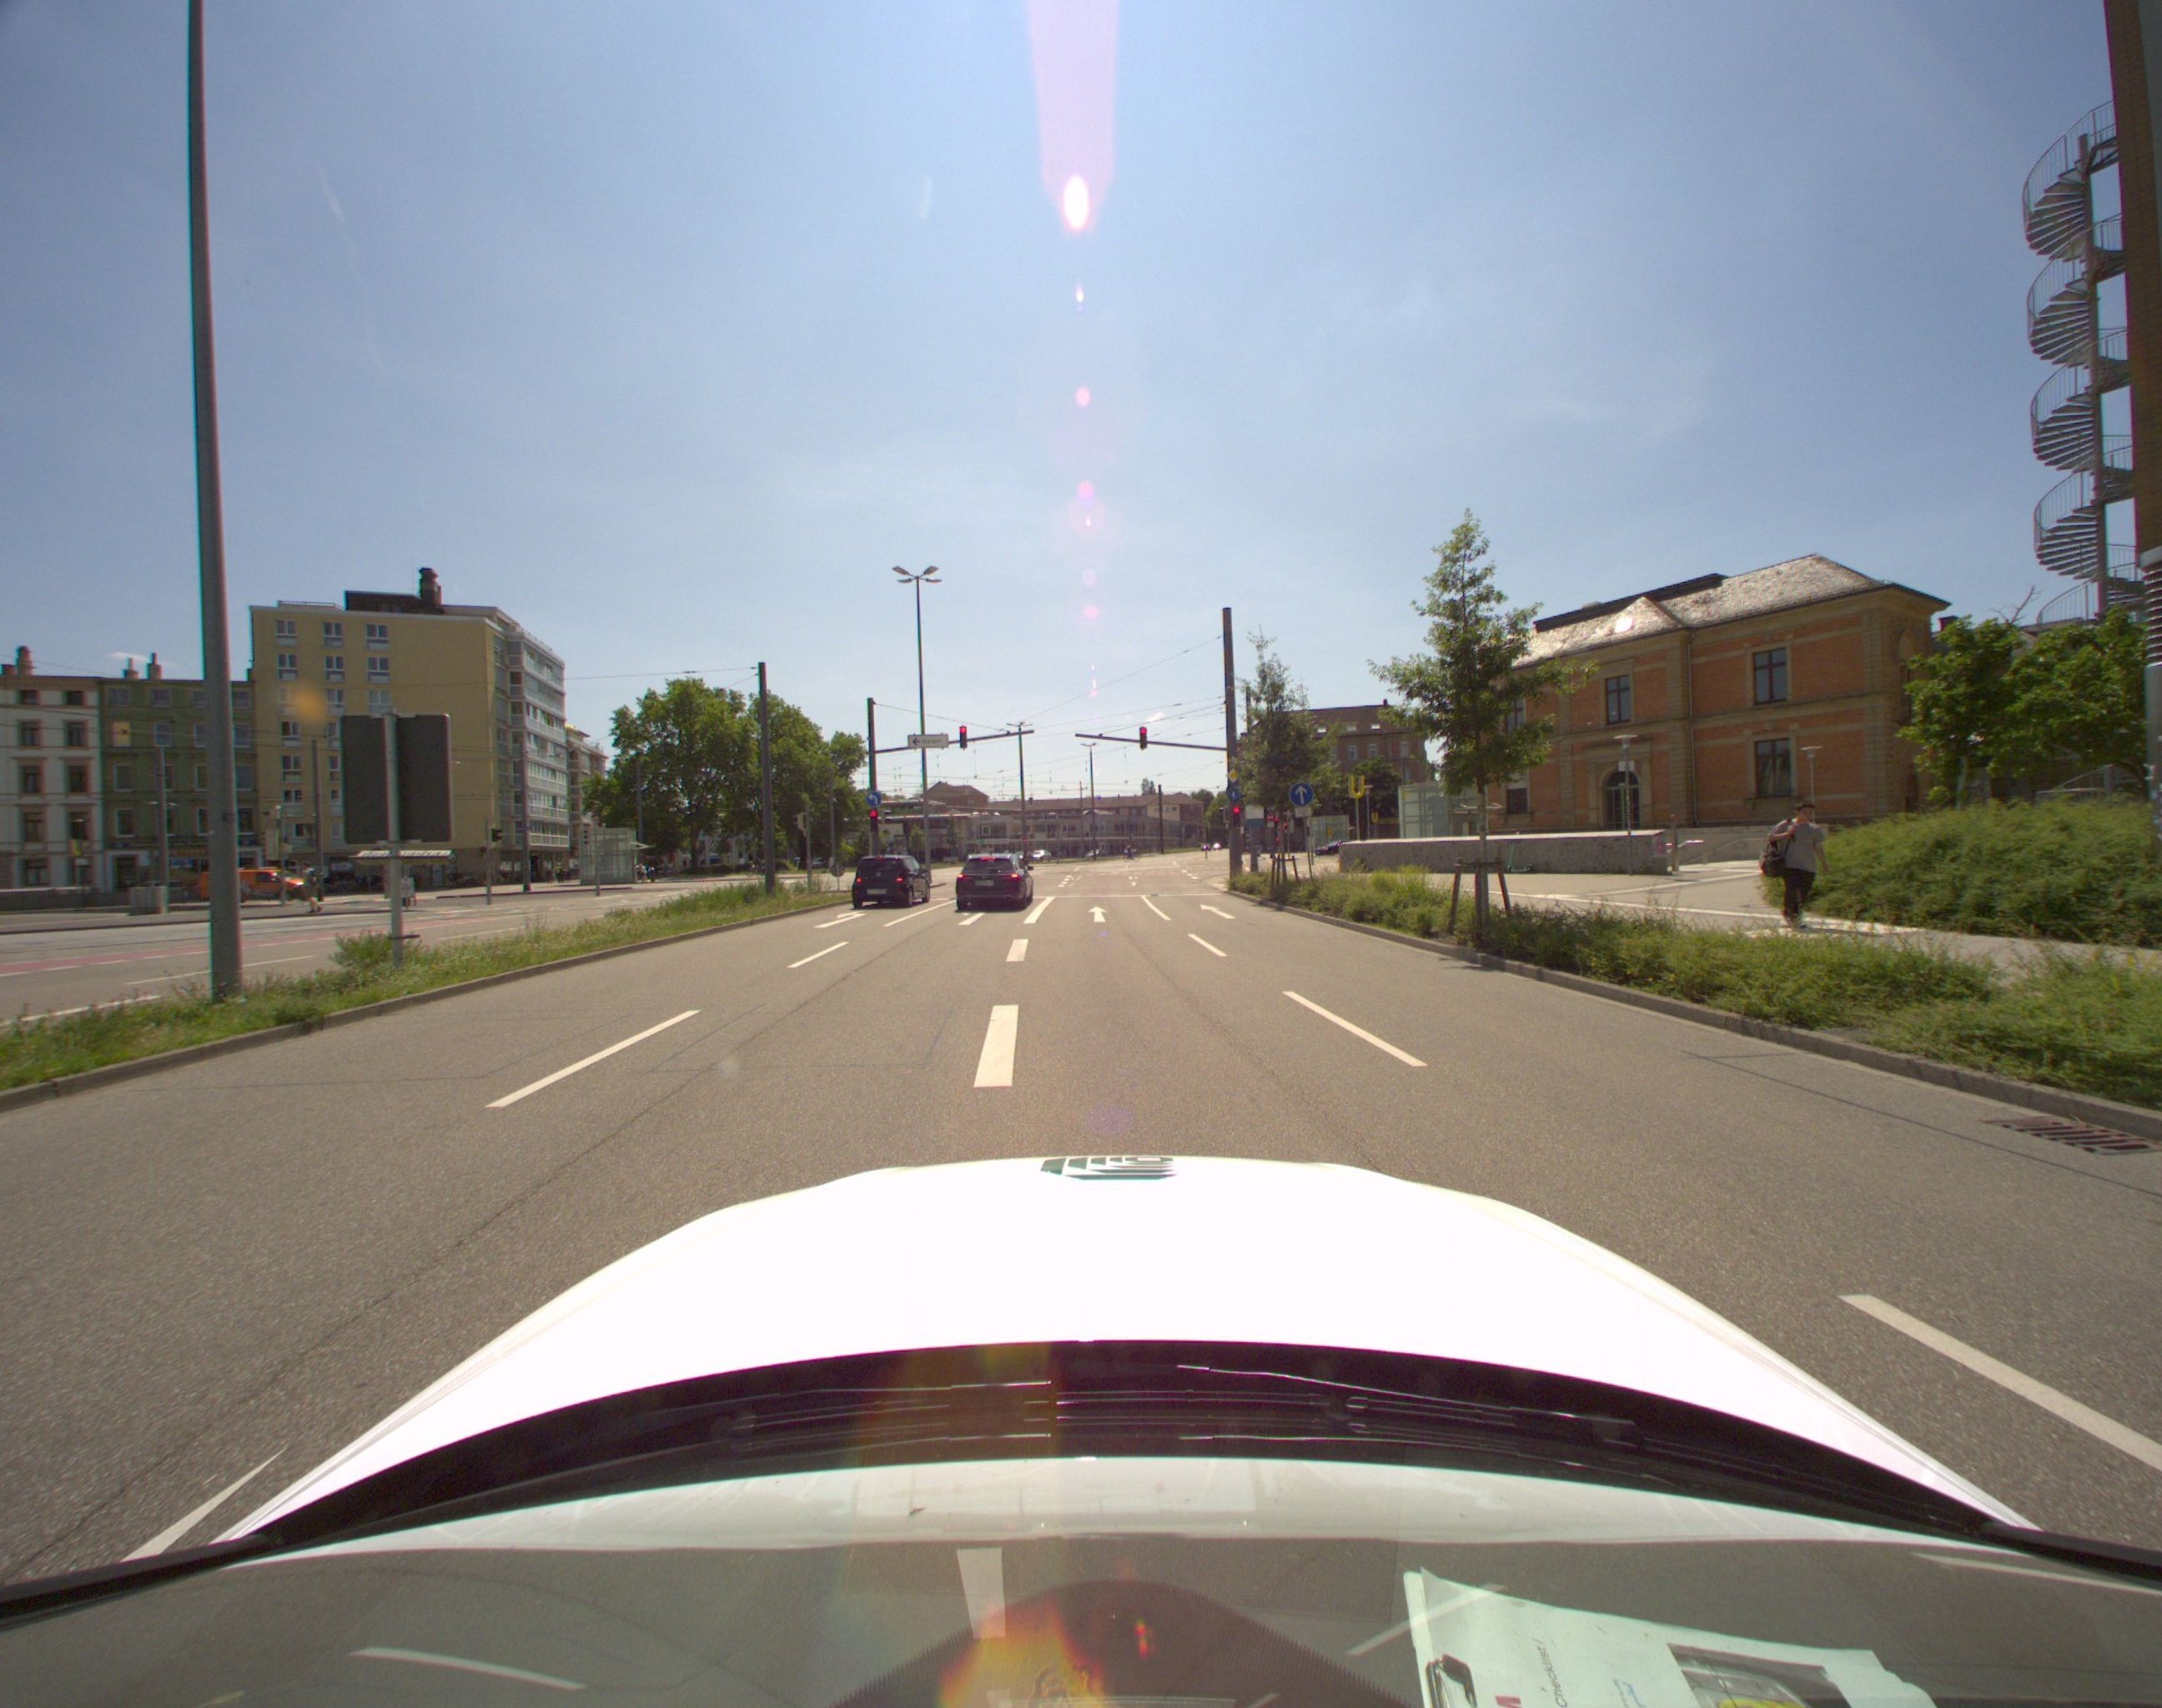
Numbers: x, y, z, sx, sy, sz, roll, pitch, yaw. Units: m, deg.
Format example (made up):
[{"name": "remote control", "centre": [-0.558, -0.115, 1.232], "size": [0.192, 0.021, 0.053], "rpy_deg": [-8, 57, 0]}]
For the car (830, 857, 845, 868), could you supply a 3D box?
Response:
[{"name": "car", "centre": [-37.049, 1.256, 123.980], "size": [1.507, 1.418, 3.415], "rpy_deg": [-1, 2, -5]}]

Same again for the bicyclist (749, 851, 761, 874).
[{"name": "bicyclist", "centre": [-28.897, 0.758, 72.195], "size": [0.845, 1.965, 0.625], "rpy_deg": [-1, 2, -7]}]

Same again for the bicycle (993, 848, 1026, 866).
[{"name": "bicycle", "centre": [-6.355, 0.252, 72.344], "size": [2.818, 1.463, 0.633], "rpy_deg": [-1, 2, -2]}]

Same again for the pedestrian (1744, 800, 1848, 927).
[{"name": "pedestrian", "centre": [9.965, 0.125, 11.377], "size": [0.729, 1.706, 0.811], "rpy_deg": [-1, 1, 2]}]

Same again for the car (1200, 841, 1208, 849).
[{"name": "car", "centre": [26.203, -1.886, 173.318], "size": [1.522, 1.458, 3.561], "rpy_deg": [-1, 2, 9]}]

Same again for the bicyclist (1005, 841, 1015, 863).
[{"name": "bicyclist", "centre": [-6.334, -0.180, 72.337], "size": [0.761, 1.937, 0.660], "rpy_deg": [-1, 2, -1]}]

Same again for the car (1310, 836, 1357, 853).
[{"name": "car", "centre": [23.992, -0.876, 77.311], "size": [4.113, 1.450, 1.687], "rpy_deg": [-2, 2, -19]}]

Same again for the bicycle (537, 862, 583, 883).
[{"name": "bicycle", "centre": [-46.963, 1.660, 73.412], "size": [0.809, 1.595, 3.344], "rpy_deg": [1, 4, 44]}]

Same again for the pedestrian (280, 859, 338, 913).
[{"name": "pedestrian", "centre": [-28.895, 1.189, 30.513], "size": [1.177, 1.933, 0.901], "rpy_deg": [-1, 2, -6]}]

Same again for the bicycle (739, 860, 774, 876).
[{"name": "bicycle", "centre": [-28.740, 1.232, 72.229], "size": [2.772, 1.385, 0.669], "rpy_deg": [-1, 2, -7]}]

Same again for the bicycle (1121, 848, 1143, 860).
[{"name": "bicycle", "centre": [5.258, -0.011, 83.625], "size": [2.166, 1.107, 0.454], "rpy_deg": [-2, 2, -17]}]

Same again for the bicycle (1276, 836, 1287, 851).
[{"name": "bicycle", "centre": [25.214, -1.286, 102.421], "size": [0.610, 1.788, 3.182], "rpy_deg": [-1, 2, 1]}]

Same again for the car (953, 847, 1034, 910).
[{"name": "car", "centre": [-2.355, 0.624, 23.077], "size": [1.711, 1.556, 4.587], "rpy_deg": [-2, 0, 0]}]

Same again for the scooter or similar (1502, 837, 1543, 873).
[{"name": "scooter or similar", "centre": [15.083, 0.014, 27.854], "size": [0.398, 1.167, 1.281], "rpy_deg": [-2, 2, -21]}]

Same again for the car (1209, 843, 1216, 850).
[{"name": "car", "centre": [31.801, -1.725, 196.866], "size": [1.577, 1.528, 3.724], "rpy_deg": [-1, 2, 7]}]

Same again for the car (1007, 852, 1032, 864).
[{"name": "car", "centre": [-7.009, 0.453, 93.286], "size": [1.526, 1.277, 3.556], "rpy_deg": [-1, 2, 18]}]

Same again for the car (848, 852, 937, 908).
[{"name": "car", "centre": [-5.461, 0.700, 24.117], "size": [1.615, 1.463, 4.000], "rpy_deg": [-2, 0, 1]}]

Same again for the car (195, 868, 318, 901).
[{"name": "car", "centre": [-47.004, 1.719, 46.531], "size": [4.630, 1.613, 1.668], "rpy_deg": [-2, 2, -15]}]

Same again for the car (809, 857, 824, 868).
[{"name": "car", "centre": [-40.331, 1.333, 124.307], "size": [1.422, 1.508, 3.433], "rpy_deg": [-1, 2, -5]}]

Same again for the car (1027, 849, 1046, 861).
[{"name": "car", "centre": [-5.380, 0.162, 99.340], "size": [1.421, 1.285, 3.274], "rpy_deg": [-1, 2, 13]}]

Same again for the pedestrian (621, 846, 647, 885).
[{"name": "pedestrian", "centre": [-35.317, 0.901, 64.344], "size": [1.211, 2.937, 1.335], "rpy_deg": [-1, 2, -3]}]

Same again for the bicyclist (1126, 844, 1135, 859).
[{"name": "bicyclist", "centre": [5.079, -0.285, 83.567], "size": [0.734, 1.479, 0.652], "rpy_deg": [-2, 2, -18]}]

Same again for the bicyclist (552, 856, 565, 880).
[{"name": "bicyclist", "centre": [-47.049, 1.268, 73.314], "size": [0.767, 2.105, 0.743], "rpy_deg": [1, 3, 42]}]

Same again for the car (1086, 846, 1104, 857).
[{"name": "car", "centre": [1.999, -0.410, 118.613], "size": [1.558, 1.427, 3.631], "rpy_deg": [-1, 2, 18]}]
